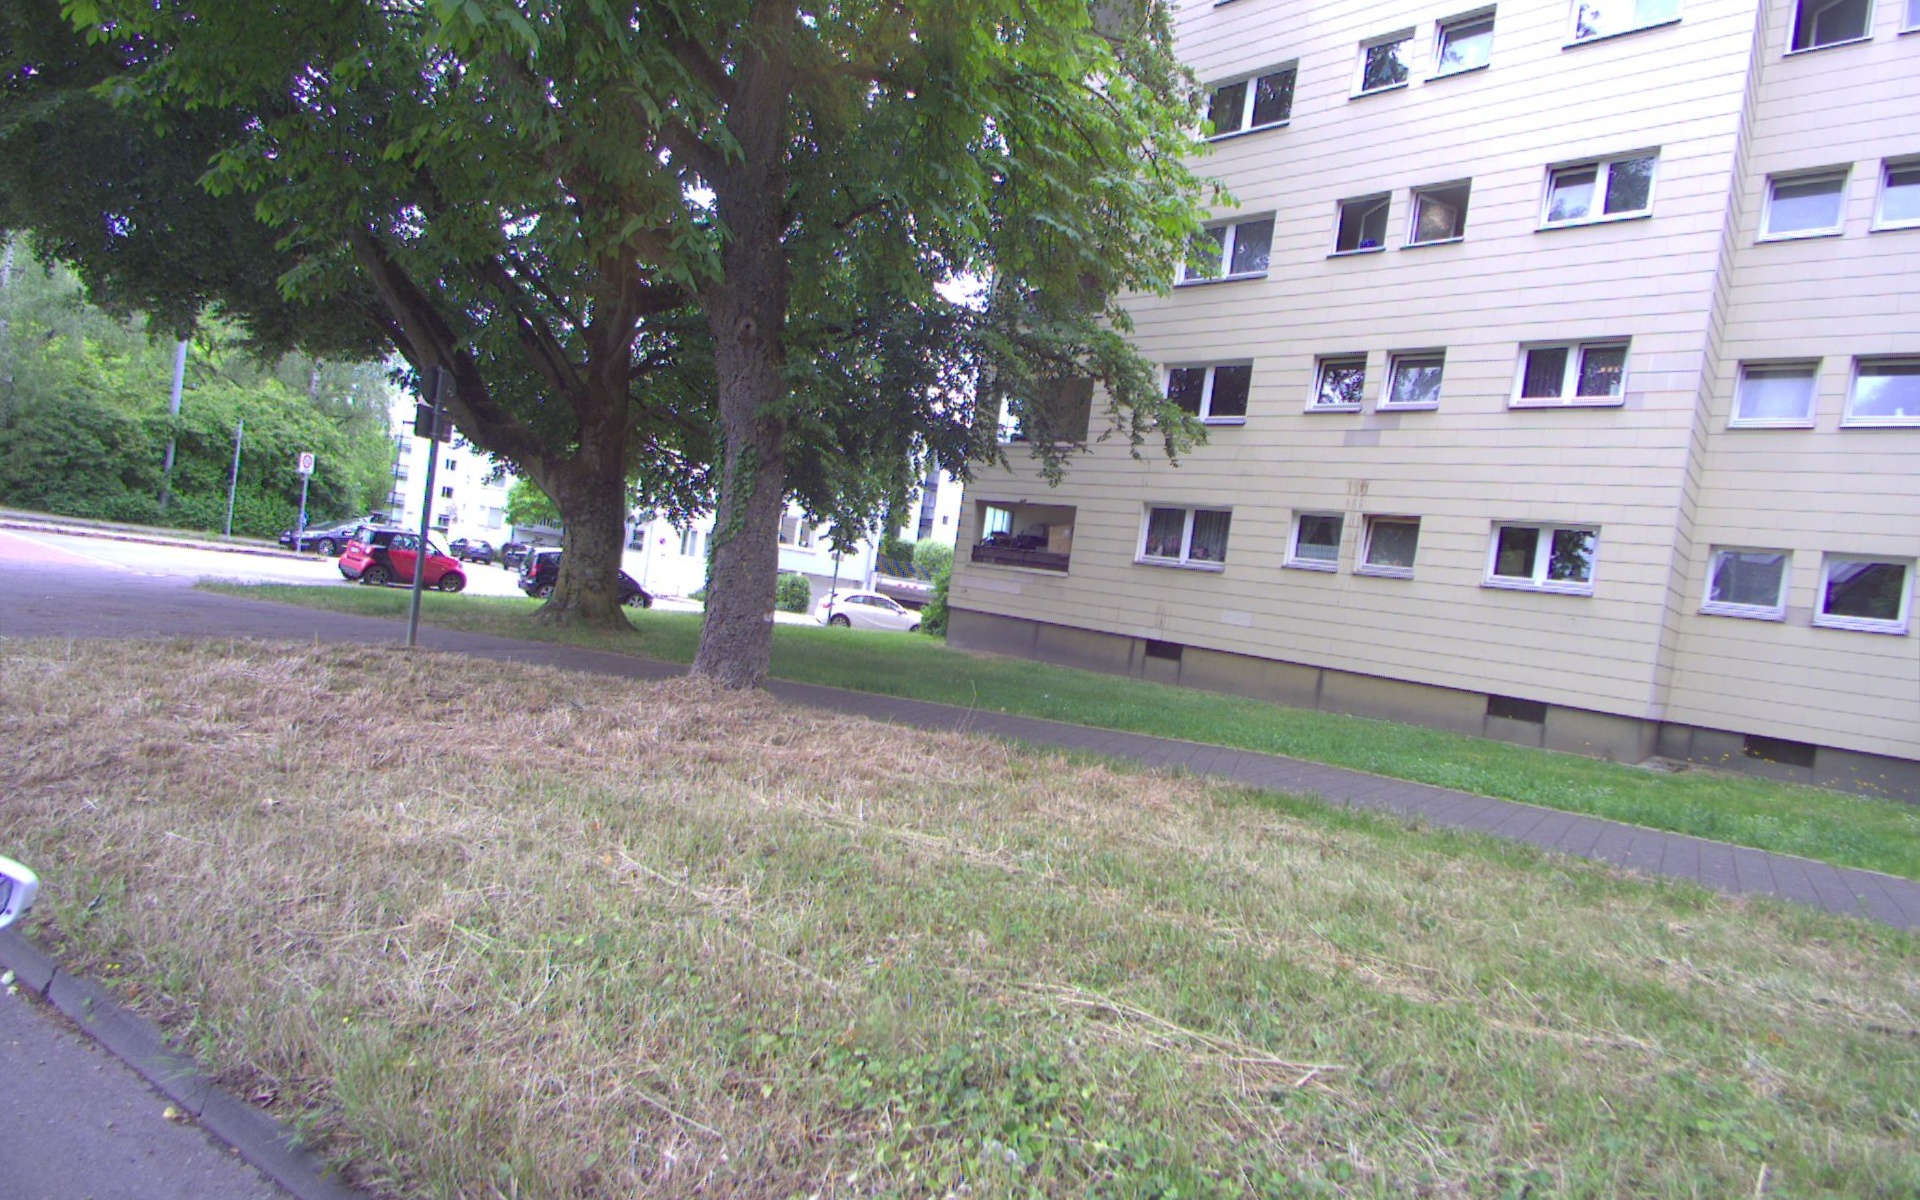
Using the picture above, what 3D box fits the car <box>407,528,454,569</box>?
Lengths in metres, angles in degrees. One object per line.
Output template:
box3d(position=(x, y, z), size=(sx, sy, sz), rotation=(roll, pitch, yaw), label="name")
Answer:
box3d(position=(-24.882, -2.449, 47.183), size=(1.709, 1.631, 3.823), rotation=(6, 1, -30), label="car")

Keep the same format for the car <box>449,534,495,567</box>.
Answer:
box3d(position=(-30.117, -3.082, 62.024), size=(1.713, 1.631, 3.813), rotation=(6, 1, -38), label="car")

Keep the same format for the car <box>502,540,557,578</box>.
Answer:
box3d(position=(-23.192, -2.206, 54.071), size=(1.713, 1.631, 3.813), rotation=(6, 1, -38), label="car")

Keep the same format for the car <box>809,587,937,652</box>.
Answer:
box3d(position=(-2.891, 0.627, 33.310), size=(3.796, 1.631, 1.721), rotation=(7, 1, -18), label="car")

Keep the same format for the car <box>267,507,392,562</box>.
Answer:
box3d(position=(-23.407, -2.411, 37.432), size=(1.702, 1.549, 3.515), rotation=(8, 1, 38), label="car")

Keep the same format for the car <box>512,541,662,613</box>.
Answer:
box3d(position=(-11.063, -0.680, 29.922), size=(3.814, 1.631, 1.713), rotation=(6, 1, -33), label="car")

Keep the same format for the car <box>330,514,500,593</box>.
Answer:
box3d(position=(-14.533, -1.212, 26.948), size=(1.702, 1.631, 3.516), rotation=(8, 1, 37), label="car")
